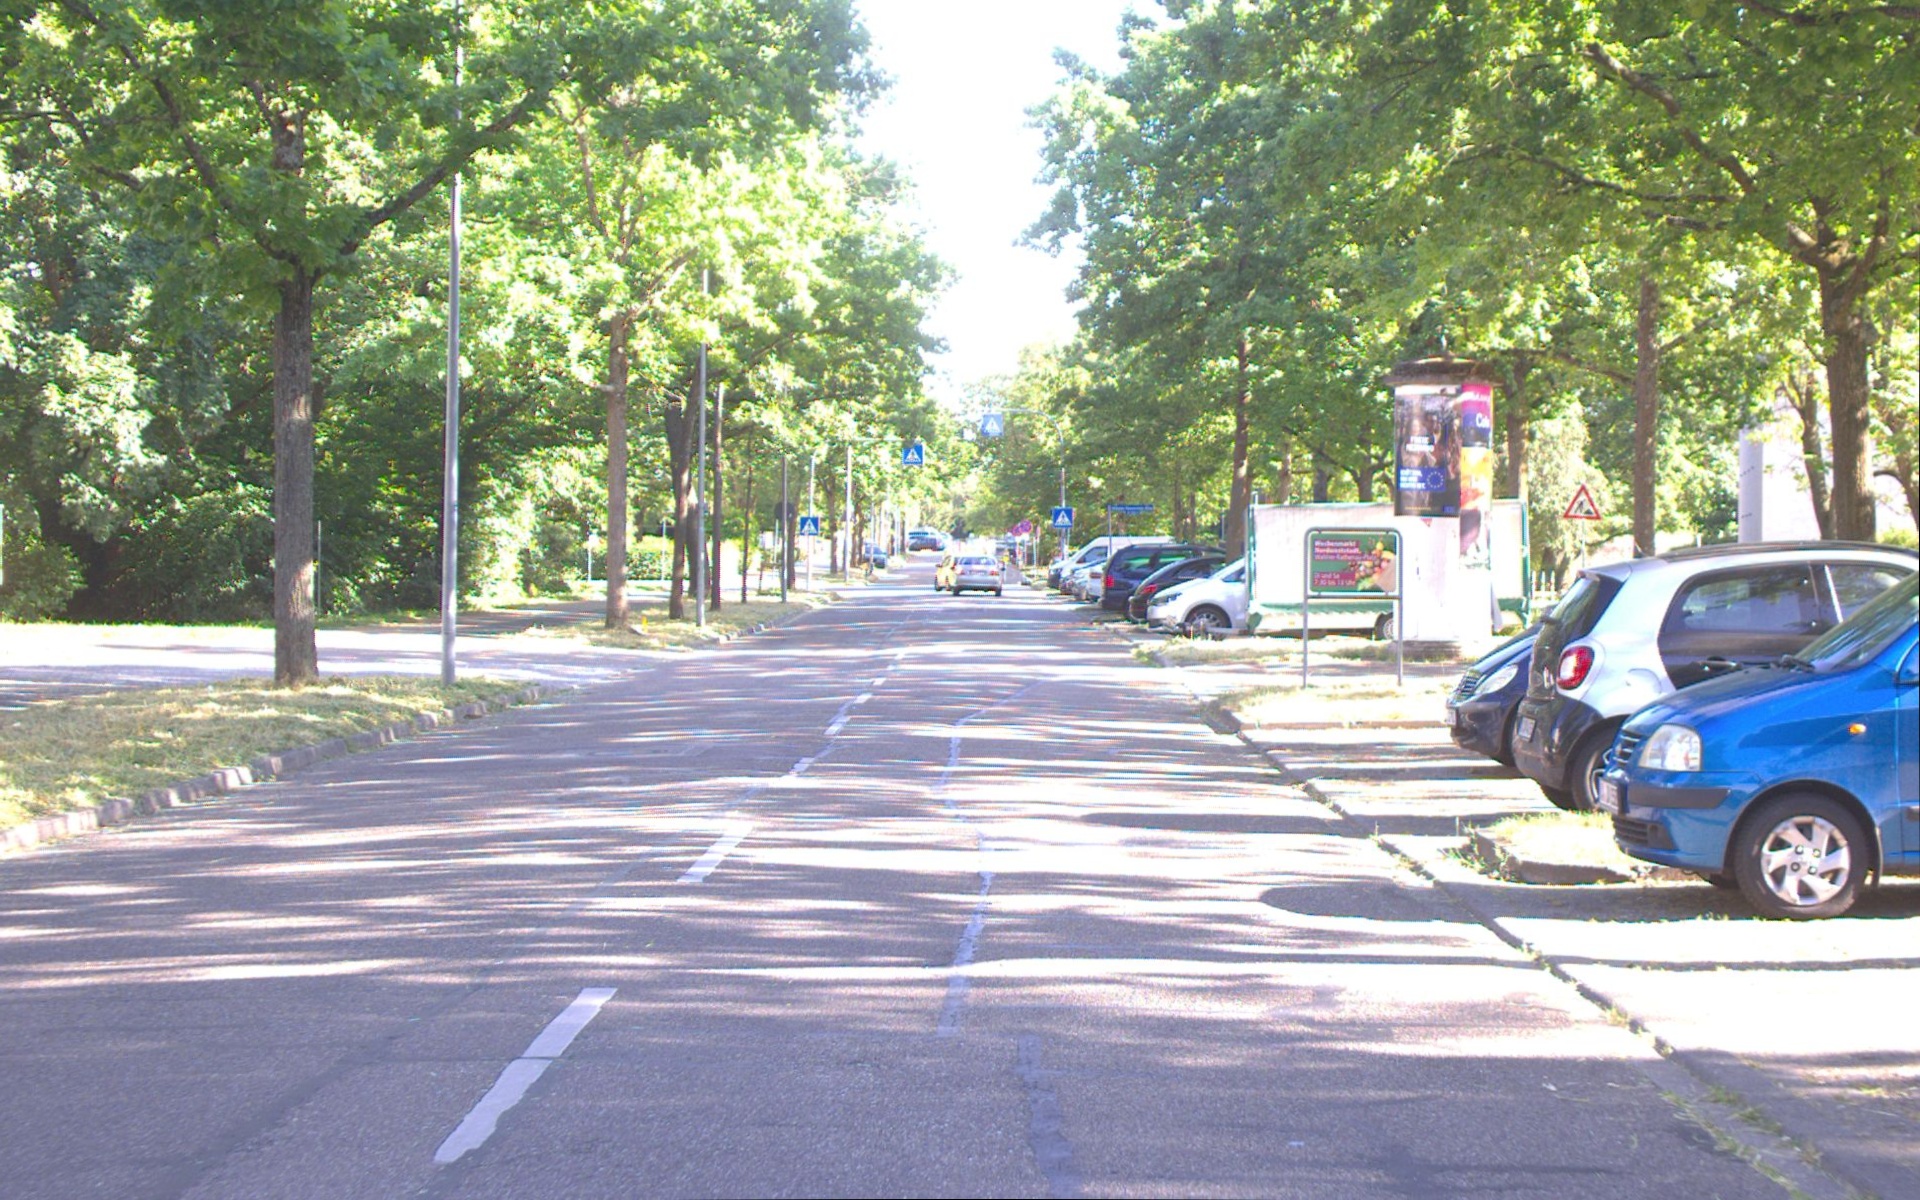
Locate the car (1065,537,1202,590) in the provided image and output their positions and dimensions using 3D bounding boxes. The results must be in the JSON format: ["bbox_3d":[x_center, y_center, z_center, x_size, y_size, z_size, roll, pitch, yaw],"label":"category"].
[{"bbox_3d":[5.711,-1.205,113.488,4.384,1.645,1.851,-1,1,-1],"label":"car"}]

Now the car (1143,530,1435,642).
[{"bbox_3d":[5.406,-0.242,56.870,4.642,1.716,1.987,-1,1,1],"label":"car"}]

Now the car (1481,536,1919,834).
[{"bbox_3d":[4.862,0.435,19.415,3.583,1.571,1.786,-1,1,2],"label":"car"}]

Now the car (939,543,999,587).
[{"bbox_3d":[0.310,-1.236,120.989,1.993,1.479,4.000,1,1,-1],"label":"car"}]

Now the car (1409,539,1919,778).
[{"bbox_3d":[5.120,0.387,24.409,3.583,1.571,1.857,-1,1,0],"label":"car"}]

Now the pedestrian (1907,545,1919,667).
[{"bbox_3d":[12.311,0.066,42.664,0.883,1.495,0.942,0,1,28],"label":"pedestrian"}]

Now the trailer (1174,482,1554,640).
[{"bbox_3d":[6.300,-0.615,54.021,5.775,2.310,1.686,-1,1,3],"label":"trailer"}]

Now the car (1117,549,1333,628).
[{"bbox_3d":[5.323,-0.238,69.601,4.245,1.514,2.078,-1,1,2],"label":"car"}]

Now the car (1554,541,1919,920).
[{"bbox_3d":[4.454,0.502,14.809,3.521,1.527,1.665,-1,1,2],"label":"car"}]

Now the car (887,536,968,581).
[{"bbox_3d":[-1.262,-1.563,130.286,1.993,1.650,4.001,0,1,-17],"label":"car"}]

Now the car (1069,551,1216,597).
[{"bbox_3d":[5.605,-0.803,105.887,4.445,1.385,1.911,0,1,0],"label":"car"}]

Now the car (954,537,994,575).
[{"bbox_3d":[0.728,-2.285,179.812,1.993,1.926,4.000,1,1,0],"label":"car"}]

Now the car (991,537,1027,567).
[{"bbox_3d":[2.845,-2.819,200.604,1.993,1.711,4.000,1,1,0],"label":"car"}]

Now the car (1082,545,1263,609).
[{"bbox_3d":[5.584,-0.607,90.724,4.671,1.575,1.917,-1,1,1],"label":"car"}]

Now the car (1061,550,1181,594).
[{"bbox_3d":[5.427,-0.957,115.983,3.987,1.428,1.901,0,1,2],"label":"car"}]

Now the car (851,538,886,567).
[{"bbox_3d":[-5.510,-2.879,206.820,1.993,1.711,4.000,1,1,0],"label":"car"}]

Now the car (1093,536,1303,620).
[{"bbox_3d":[5.256,-0.498,76.404,4.530,1.795,1.936,-1,1,1],"label":"car"}]

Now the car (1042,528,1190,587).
[{"bbox_3d":[5.592,-1.523,123.798,5.187,2.098,2.083,0,1,-1],"label":"car"}]
